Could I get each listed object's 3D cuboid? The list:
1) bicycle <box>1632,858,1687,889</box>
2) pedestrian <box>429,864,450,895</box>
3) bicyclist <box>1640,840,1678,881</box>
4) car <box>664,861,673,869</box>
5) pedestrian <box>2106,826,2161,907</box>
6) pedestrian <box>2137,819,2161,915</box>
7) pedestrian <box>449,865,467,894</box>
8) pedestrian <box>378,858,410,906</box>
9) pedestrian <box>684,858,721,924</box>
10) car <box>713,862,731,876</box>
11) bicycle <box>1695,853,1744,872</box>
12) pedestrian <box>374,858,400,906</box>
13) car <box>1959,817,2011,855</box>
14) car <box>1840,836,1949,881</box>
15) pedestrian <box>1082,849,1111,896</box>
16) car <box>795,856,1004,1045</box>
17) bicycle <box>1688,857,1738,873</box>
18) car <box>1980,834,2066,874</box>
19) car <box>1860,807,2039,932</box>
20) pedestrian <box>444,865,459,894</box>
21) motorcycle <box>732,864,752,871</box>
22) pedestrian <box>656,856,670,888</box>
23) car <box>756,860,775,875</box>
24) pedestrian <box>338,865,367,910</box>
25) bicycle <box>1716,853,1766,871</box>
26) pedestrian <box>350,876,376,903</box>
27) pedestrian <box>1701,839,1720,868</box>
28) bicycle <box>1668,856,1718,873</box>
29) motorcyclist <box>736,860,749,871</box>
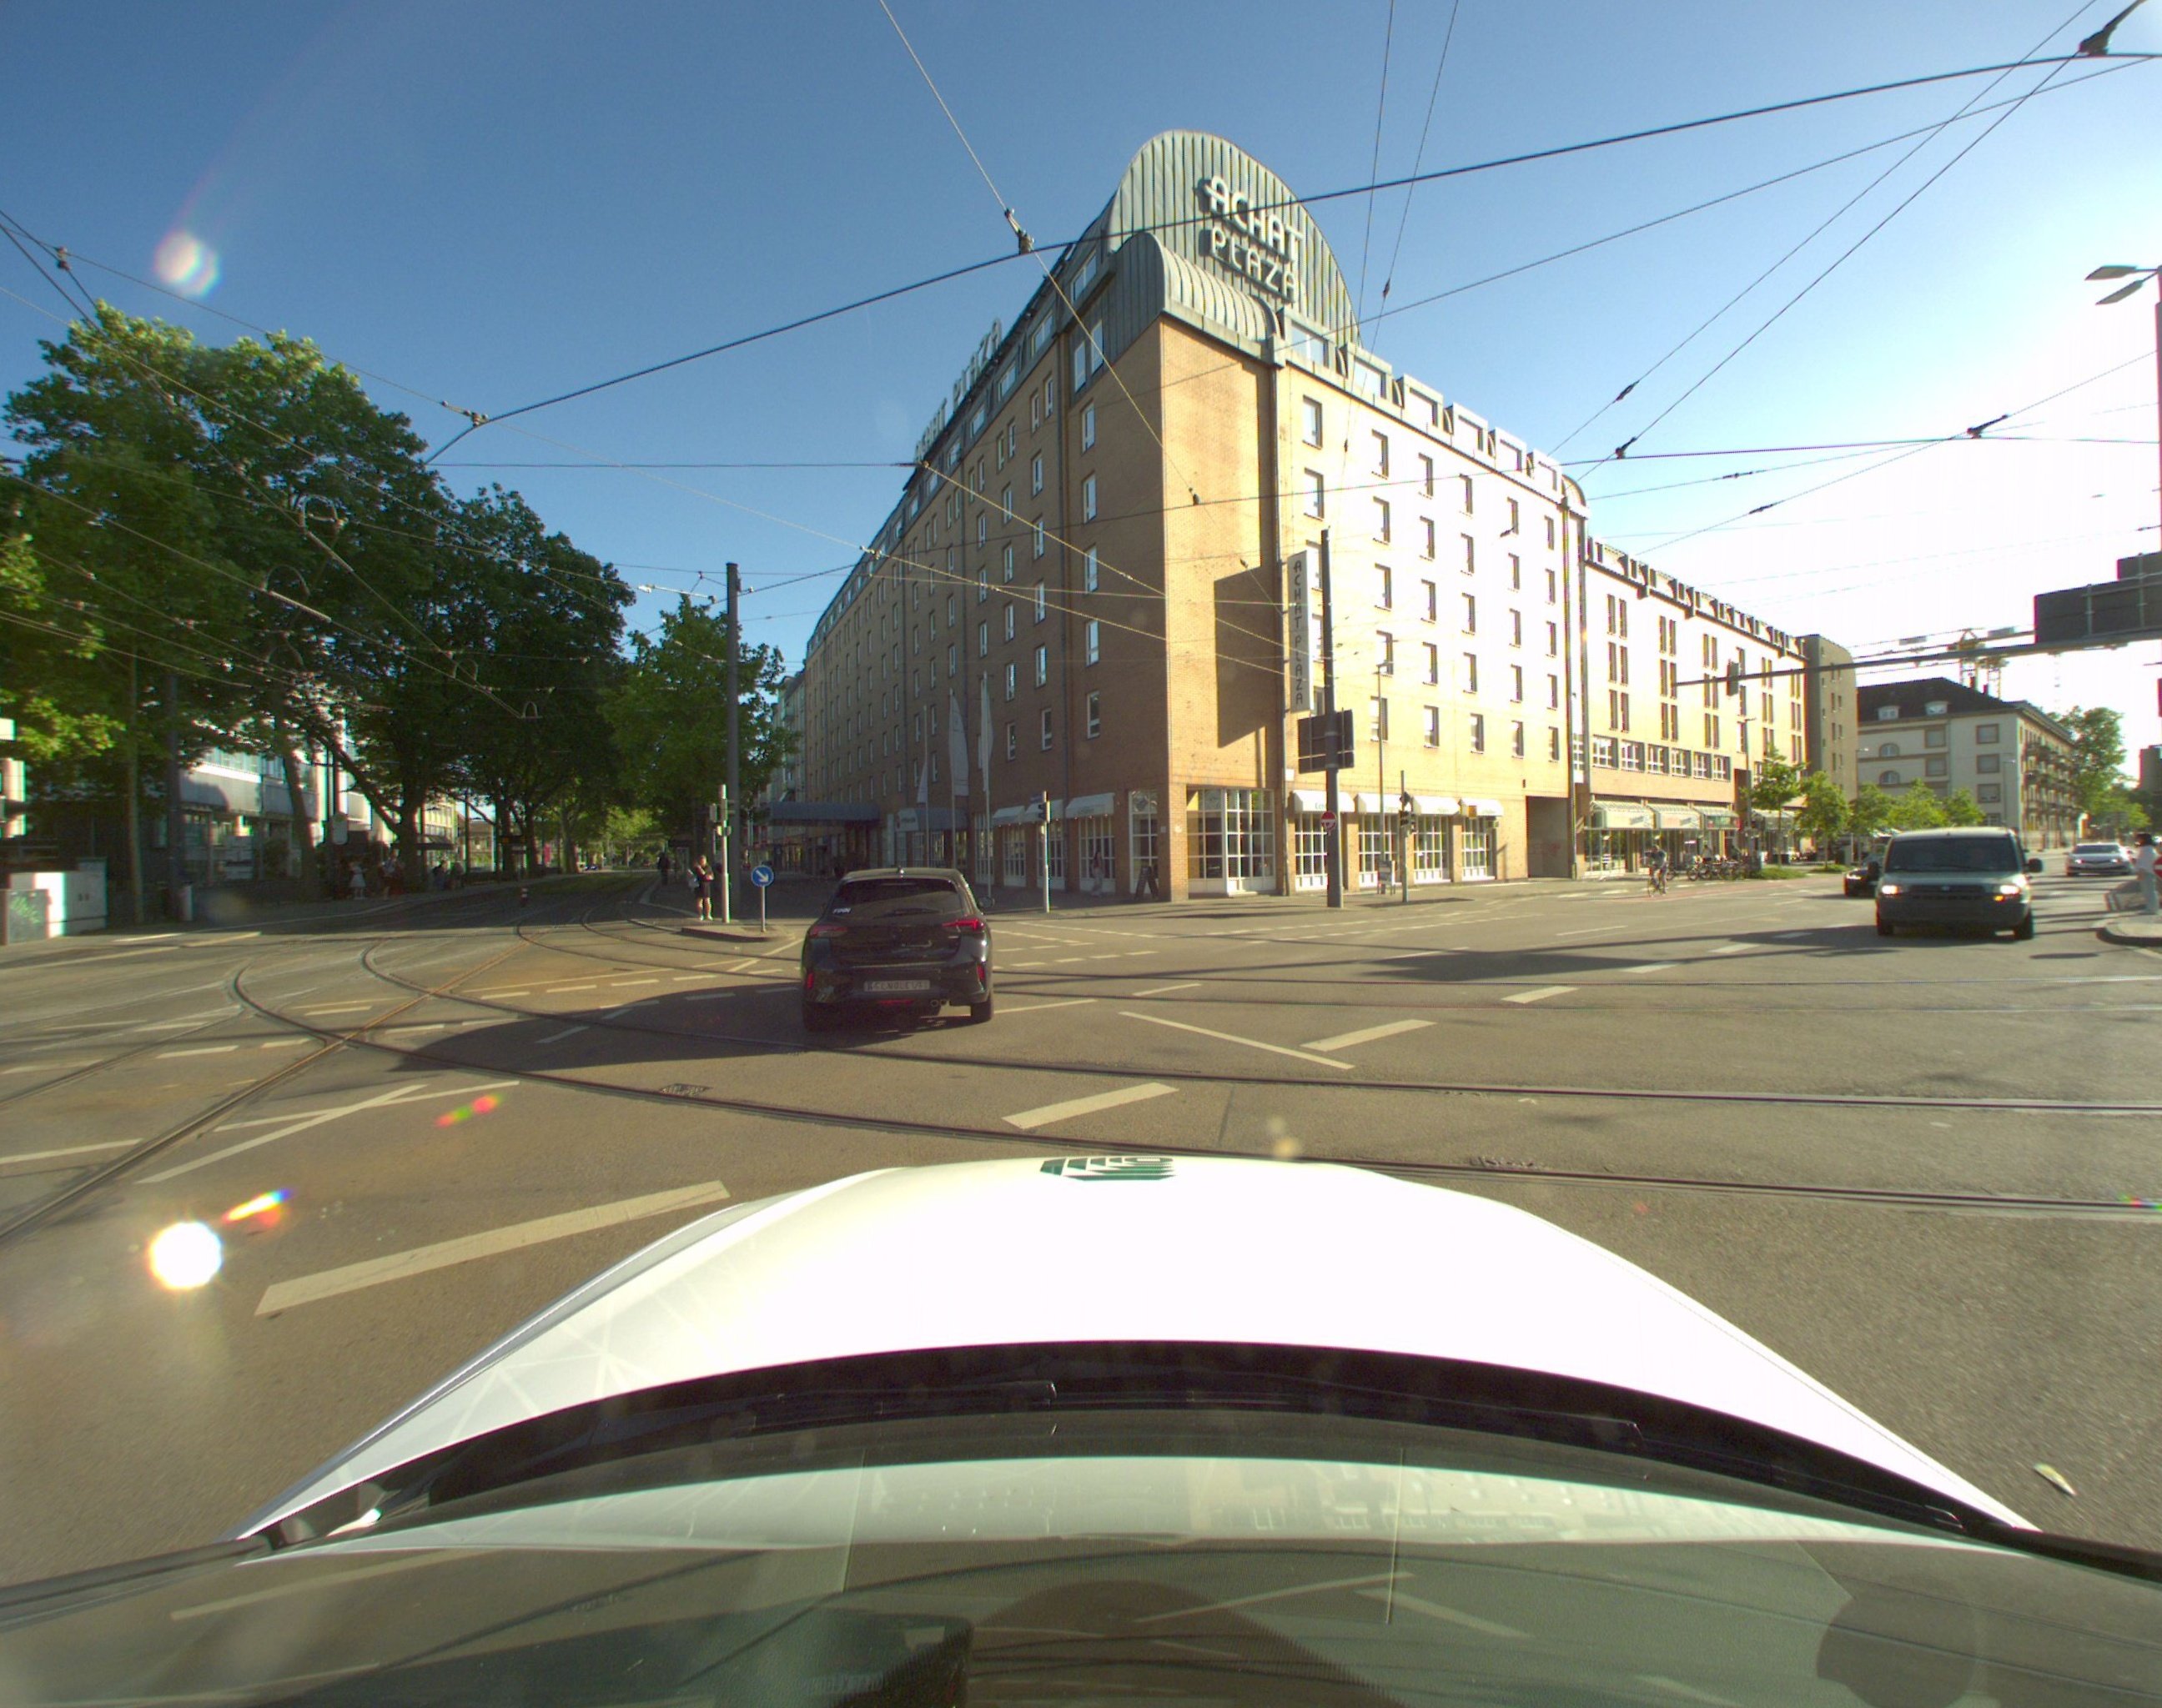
[{"bbox_3d":[20.339,0.689,28.601,2.520,0.991,0.803,-1,-1,-37],"label":"bicycle"},{"bbox_3d":[-33.586,1.348,42.625,0.480,1.573,0.675,0,1,16],"label":"pedestrian"},{"bbox_3d":[20.265,0.225,28.564,0.930,1.377,0.803,-1,-1,-37],"label":"bicyclist"},{"bbox_3d":[-84.728,2.250,167.112,1.622,1.502,3.657,-1,0,-28],"label":"car"},{"bbox_3d":[21.037,0.242,16.263,0.575,1.577,0.651,-2,-1,41],"label":"pedestrian"},{"bbox_3d":[19.776,0.220,14.759,0.597,1.727,0.715,-1,-1,-34],"label":"pedestrian"},{"bbox_3d":[-34.638,1.405,45.276,0.564,1.573,0.636,-1,1,-15],"label":"pedestrian"},{"bbox_3d":[-27.144,1.092,32.163,0.588,1.829,0.745,-1,0,4],"label":"pedestrian"},{"bbox_3d":[-10.006,0.956,21.561,0.716,1.680,0.826,-3,0,-19],"label":"pedestrian"},{"bbox_3d":[-41.424,1.702,93.871,1.622,1.502,3.657,-1,0,-28],"label":"car"},{"bbox_3d":[33.701,0.459,43.019,0.483,0.921,2.023,-1,-1,-24],"label":"bicycle"},{"bbox_3d":[-26.797,1.063,31.469,0.638,1.829,0.737,-1,0,-32],"label":"pedestrian"},{"bbox_3d":[75.907,-1.541,68.330,8.512,2.998,2.357,-2,0,-38],"label":"car"},{"bbox_3d":[25.590,0.113,25.587,4.249,1.268,1.824,-1,-2,-37],"label":"car"},{"bbox_3d":[0.552,0.660,29.418,0.742,1.666,0.747,-2,0,-25],"label":"pedestrian"},{"bbox_3d":[-1.826,0.795,8.632,1.672,1.502,3.677,-2,0,-10],"label":"car"},{"bbox_3d":[32.748,0.579,42.232,0.483,0.845,2.023,-1,-1,-24],"label":"bicycle"},{"bbox_3d":[36.972,-0.016,31.938,4.318,1.448,1.824,-1,-2,-37],"label":"car"},{"bbox_3d":[14.961,0.247,14.037,4.129,1.836,1.823,-1,-2,-42],"label":"car"},{"bbox_3d":[-34.546,1.400,44.672,0.503,1.573,0.490,-1,1,-23],"label":"pedestrian"},{"bbox_3d":[-50.947,2.058,122.427,3.057,1.058,1.317,-1,0,33],"label":"motorcycle"},{"bbox_3d":[-22.468,0.972,43.813,0.607,1.680,0.482,-3,0,-27],"label":"pedestrian"},{"bbox_3d":[-35.750,1.496,92.359,1.681,1.652,3.659,-1,0,-26],"label":"car"},{"bbox_3d":[-29.987,1.363,33.528,0.591,1.800,0.742,-1,0,-12],"label":"pedestrian"},{"bbox_3d":[34.988,0.449,43.217,0.483,0.921,2.023,-1,-1,-24],"label":"bicycle"},{"bbox_3d":[-32.115,1.589,36.431,0.591,1.164,0.742,-1,0,-12],"label":"pedestrian"},{"bbox_3d":[38.652,-0.046,50.020,0.567,1.764,0.711,-1,-1,-32],"label":"pedestrian"},{"bbox_3d":[31.238,0.564,41.607,0.483,0.845,2.023,-1,-1,-24],"label":"bicycle"},{"bbox_3d":[-50.885,1.721,122.410,1.221,1.698,1.317,-1,0,33],"label":"motorcyclist"}]
